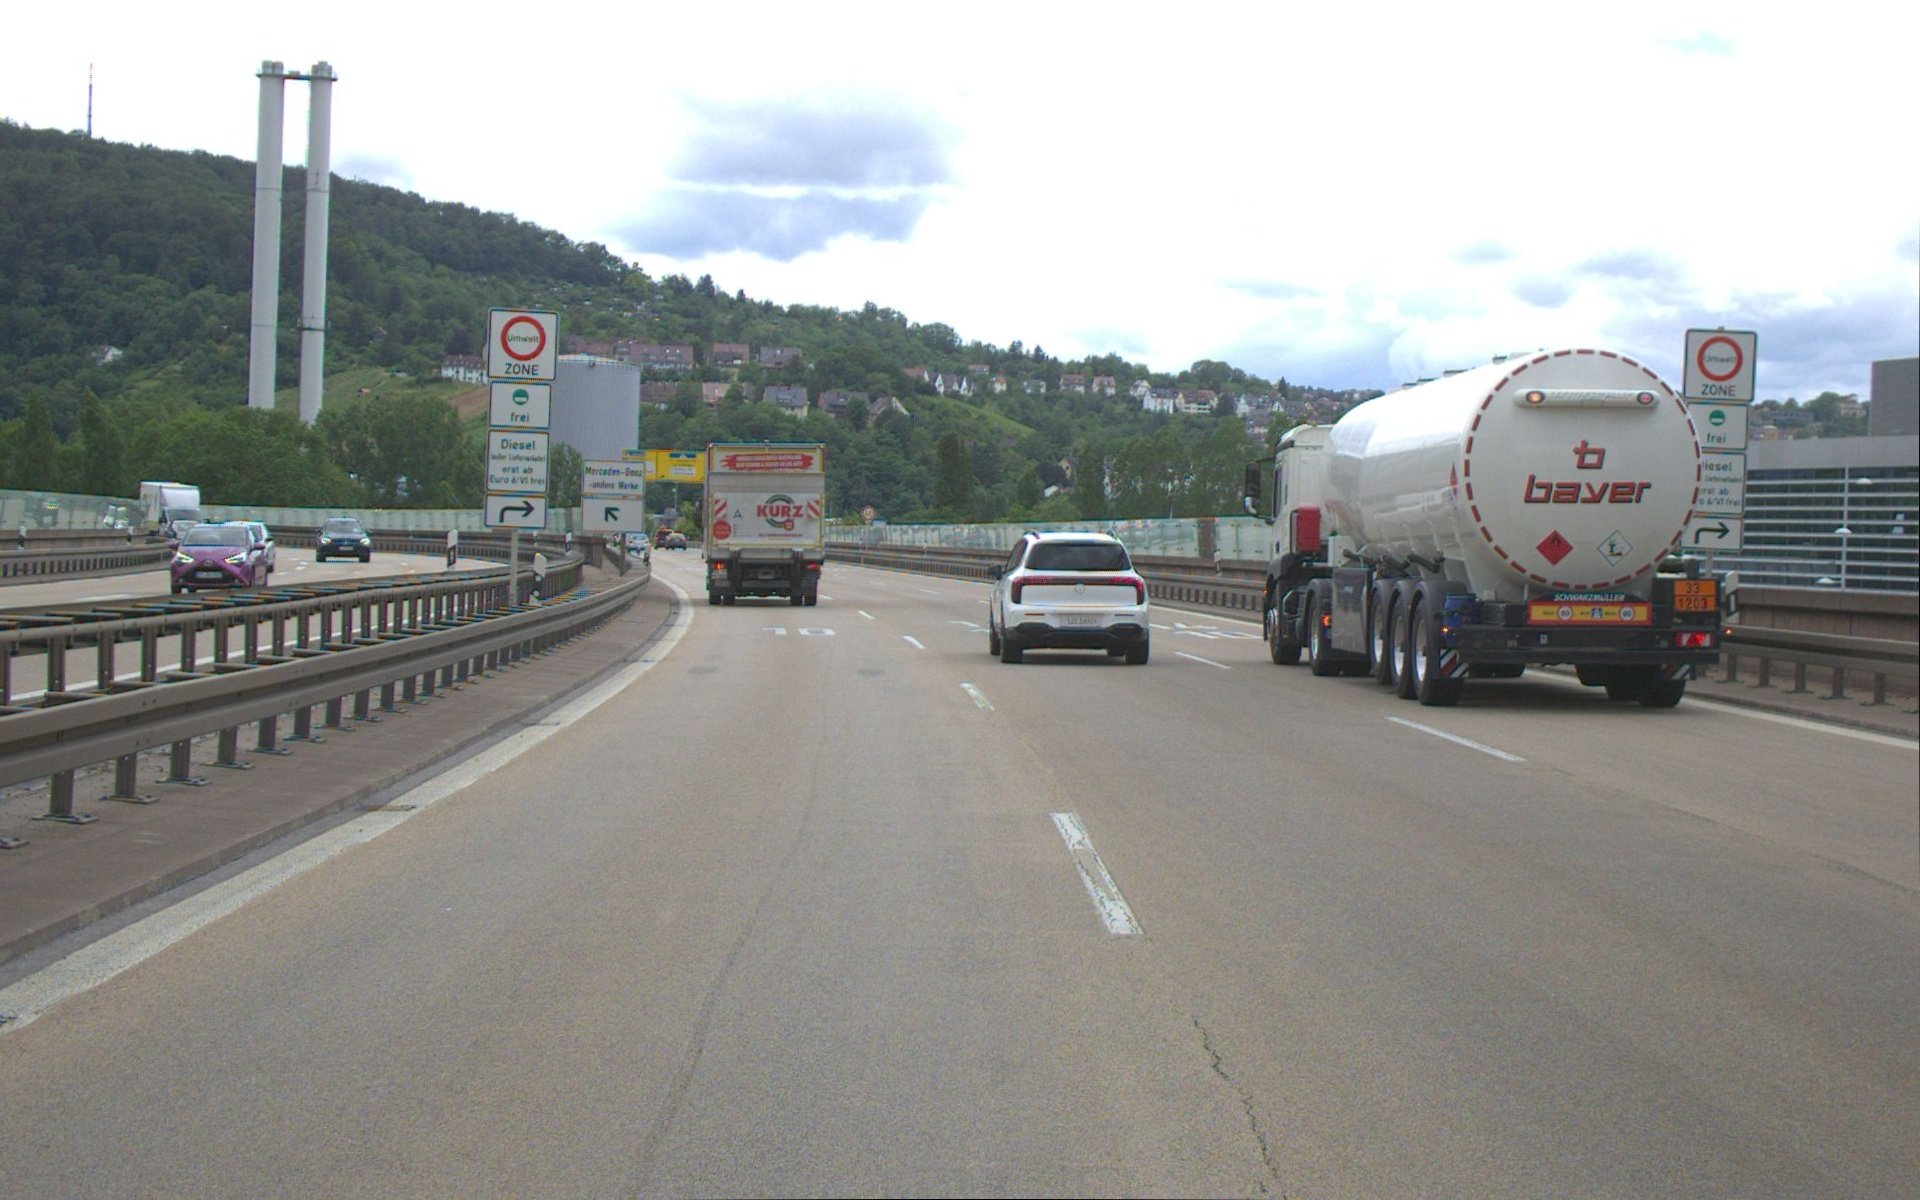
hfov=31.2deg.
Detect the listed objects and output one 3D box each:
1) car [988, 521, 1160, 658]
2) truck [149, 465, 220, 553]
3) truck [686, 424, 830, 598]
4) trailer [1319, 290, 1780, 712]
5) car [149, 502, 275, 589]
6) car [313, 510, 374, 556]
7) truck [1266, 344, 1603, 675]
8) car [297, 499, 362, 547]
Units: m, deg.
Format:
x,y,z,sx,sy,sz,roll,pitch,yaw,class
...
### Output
x,y,z,sx,sy,sz,roll,pitch,yaw,class
1.432,-0.146,44.742,1.993,1.669,4.408,1,0,-1,car
-41.536,-4.810,184.347,3.056,4.547,8.306,1,1,-8,truck
-4.551,-1.955,78.081,3.056,3.678,8.305,1,1,-3,truck
5.784,-0.939,35.333,3.057,3.777,8.304,1,1,-1,trailer
-15.102,-1.090,69.584,1.993,1.669,4.409,1,0,-6,car
-23.158,-2.489,129.251,1.993,1.669,4.409,0,0,-6,car
5.579,-1.038,41.529,3.014,3.644,6.274,1,0,-1,truck
-23.202,-2.825,126.587,1.993,1.669,4.409,1,0,-6,car
